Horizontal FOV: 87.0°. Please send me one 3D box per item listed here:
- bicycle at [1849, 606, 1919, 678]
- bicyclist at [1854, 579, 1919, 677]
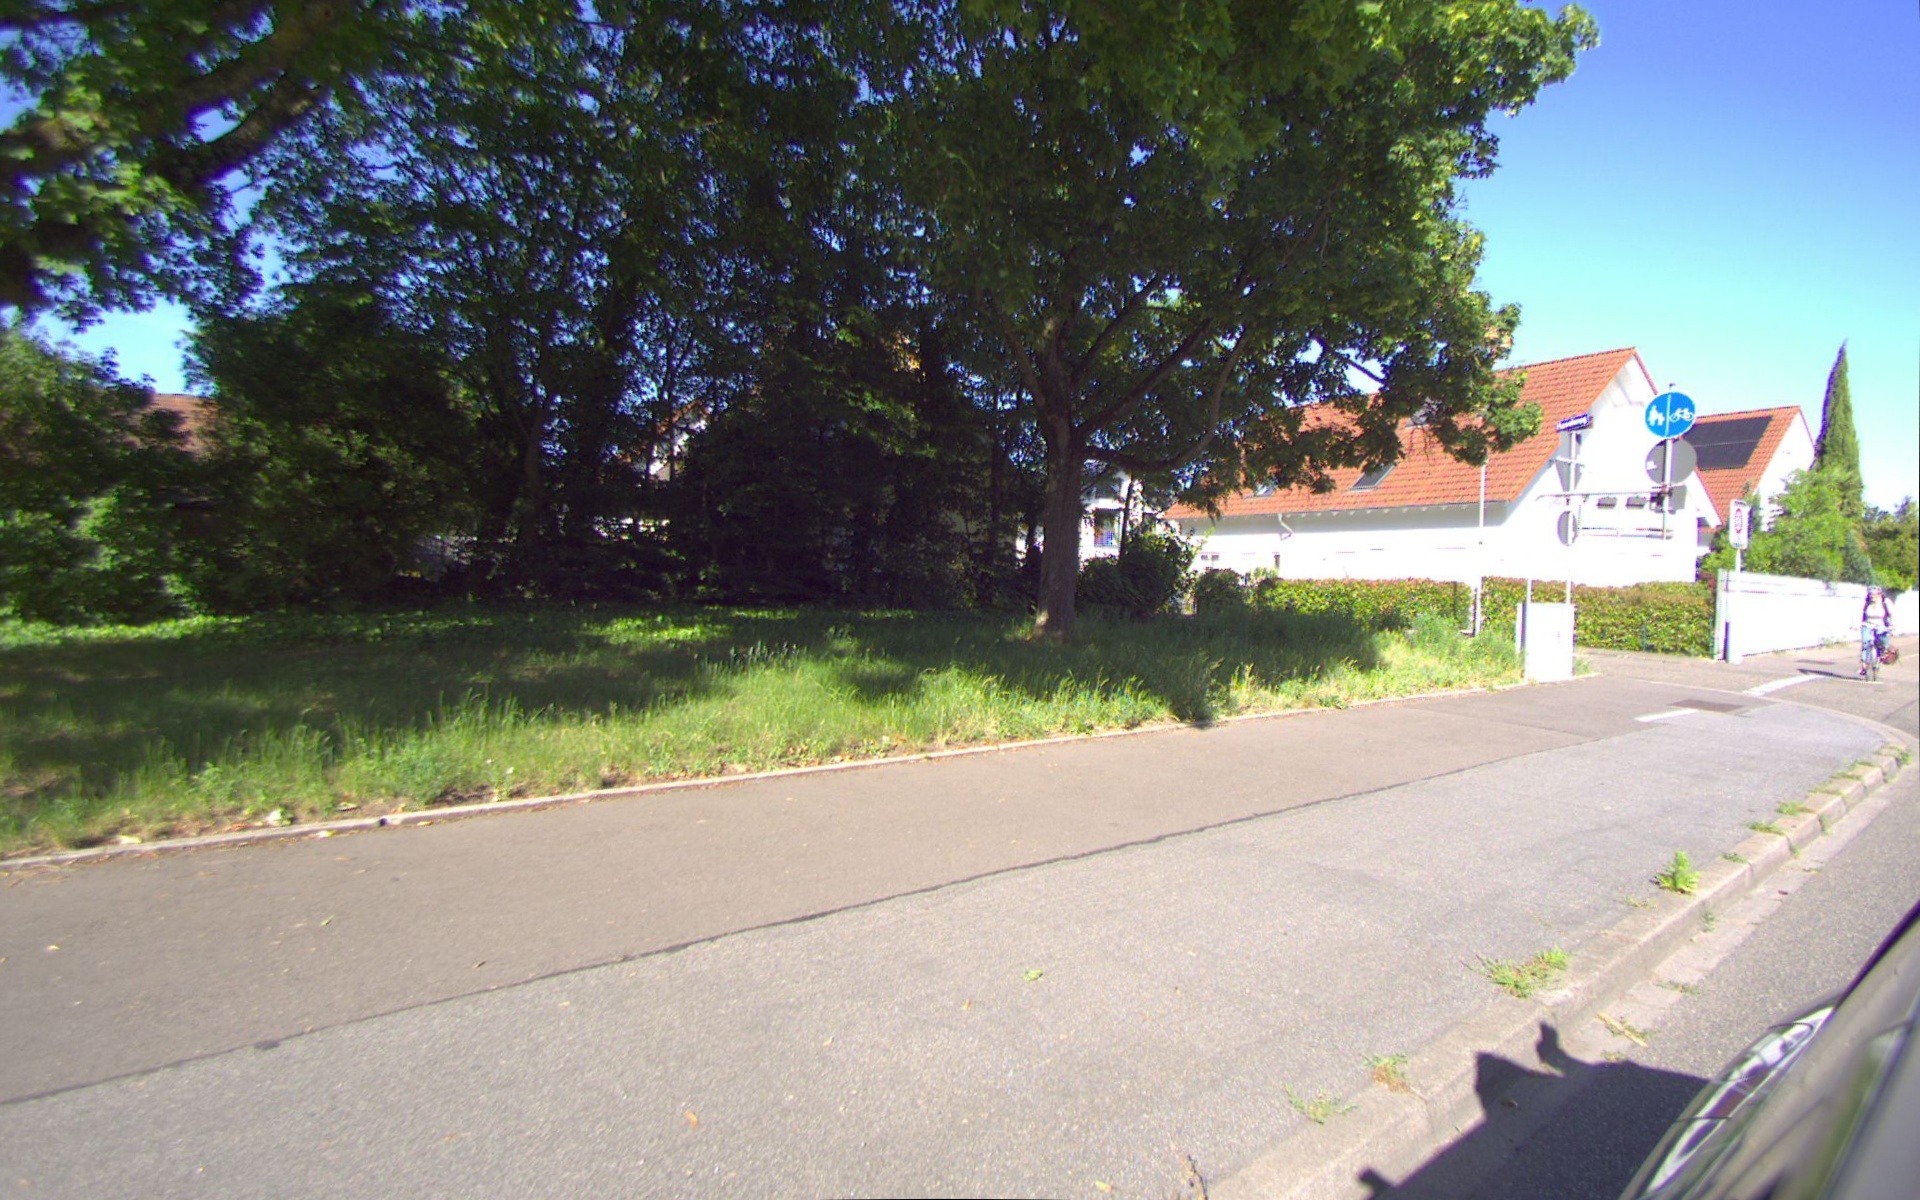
[{"bbox_3d":[16.455,0.733,17.954,2.101,1.169,0.576,1,4,-39],"label":"bicycle"},{"bbox_3d":[16.513,0.481,18.003,0.964,1.652,0.632,1,4,-38],"label":"bicyclist"}]
